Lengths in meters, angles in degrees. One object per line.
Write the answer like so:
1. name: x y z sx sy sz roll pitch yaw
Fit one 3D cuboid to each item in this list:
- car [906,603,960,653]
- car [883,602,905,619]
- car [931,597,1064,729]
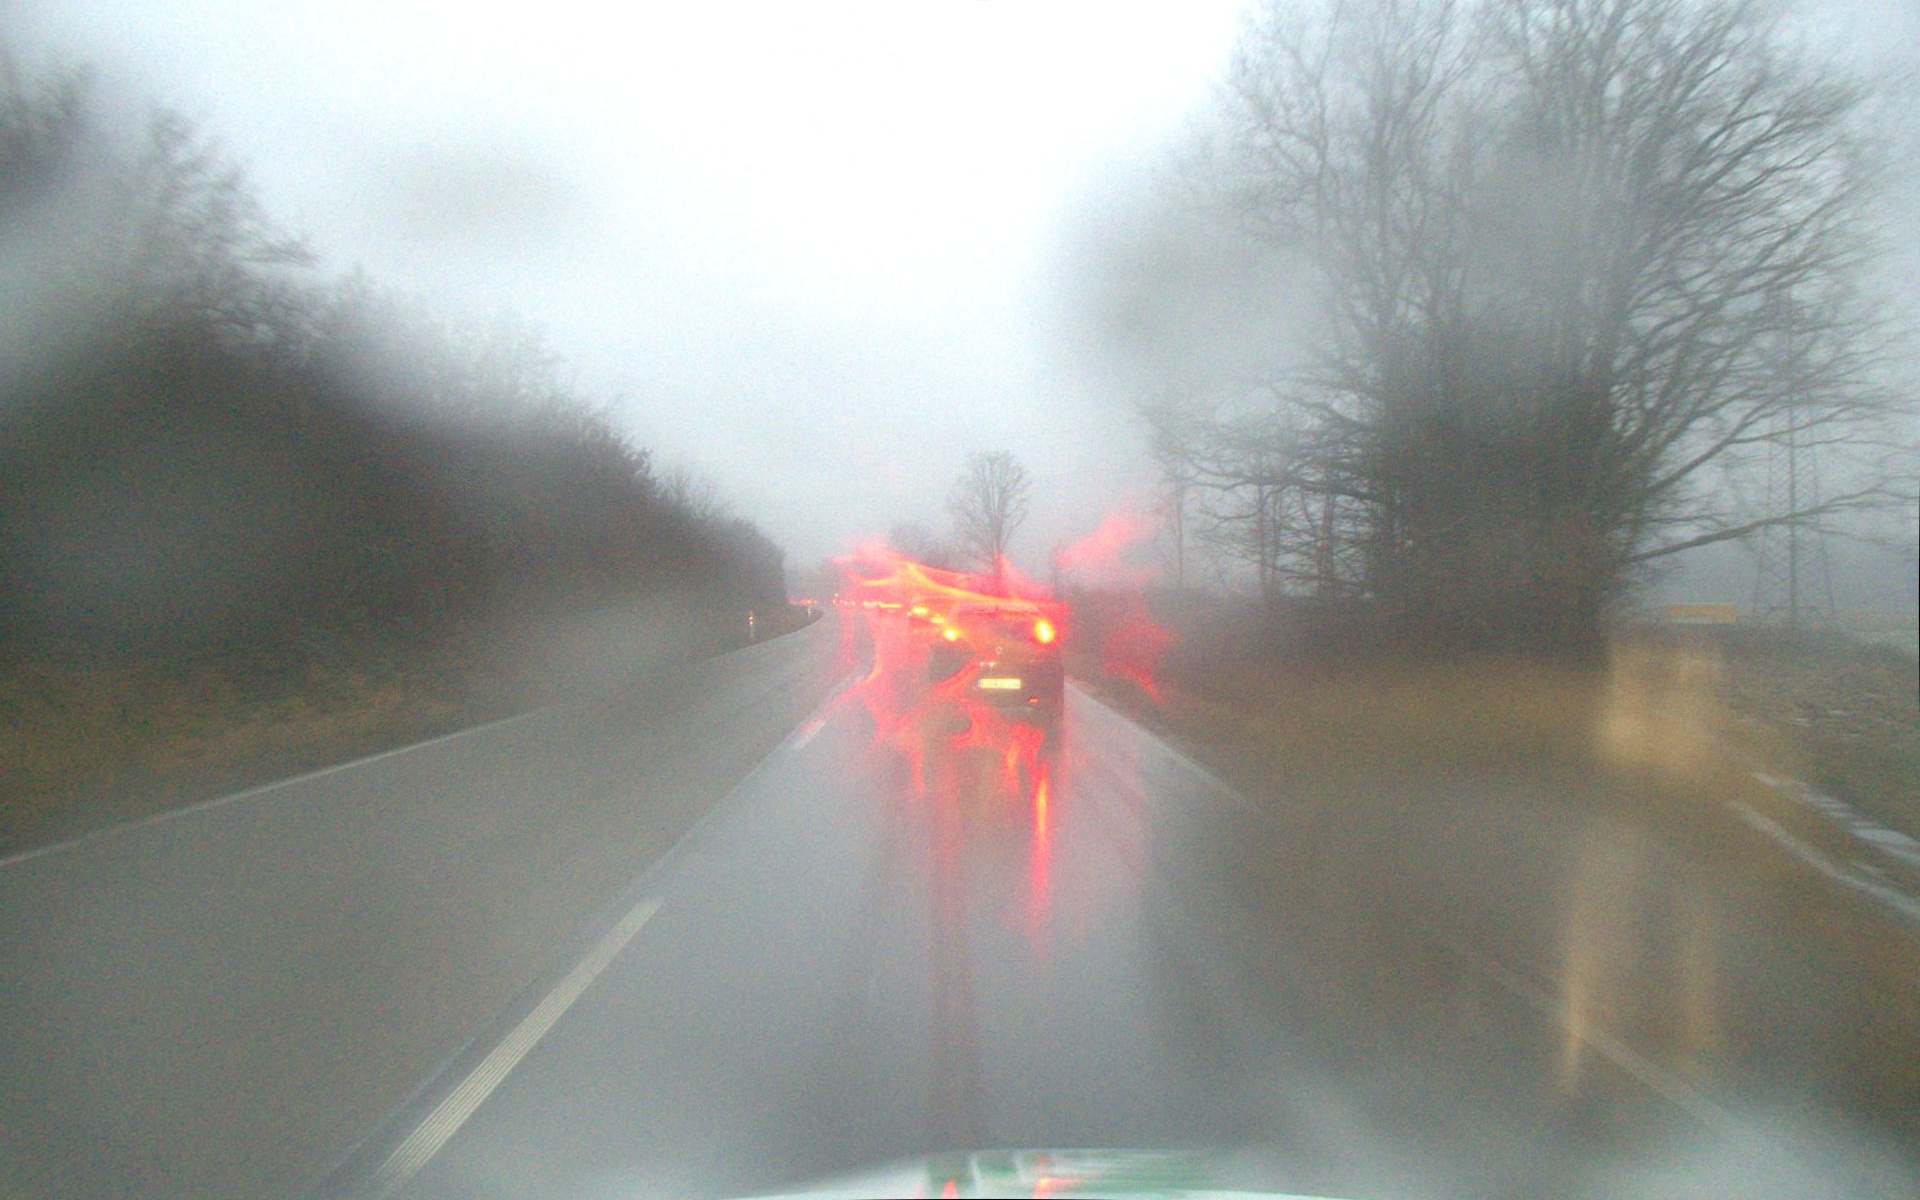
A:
1. car: -0.778 0.813 49.977 1.515 1.421 3.869 1 0 1
2. car: -5.505 0.856 138.337 1.515 1.421 3.870 1 0 1
3. car: 0.449 0.753 21.646 1.569 1.549 3.869 1 0 0
